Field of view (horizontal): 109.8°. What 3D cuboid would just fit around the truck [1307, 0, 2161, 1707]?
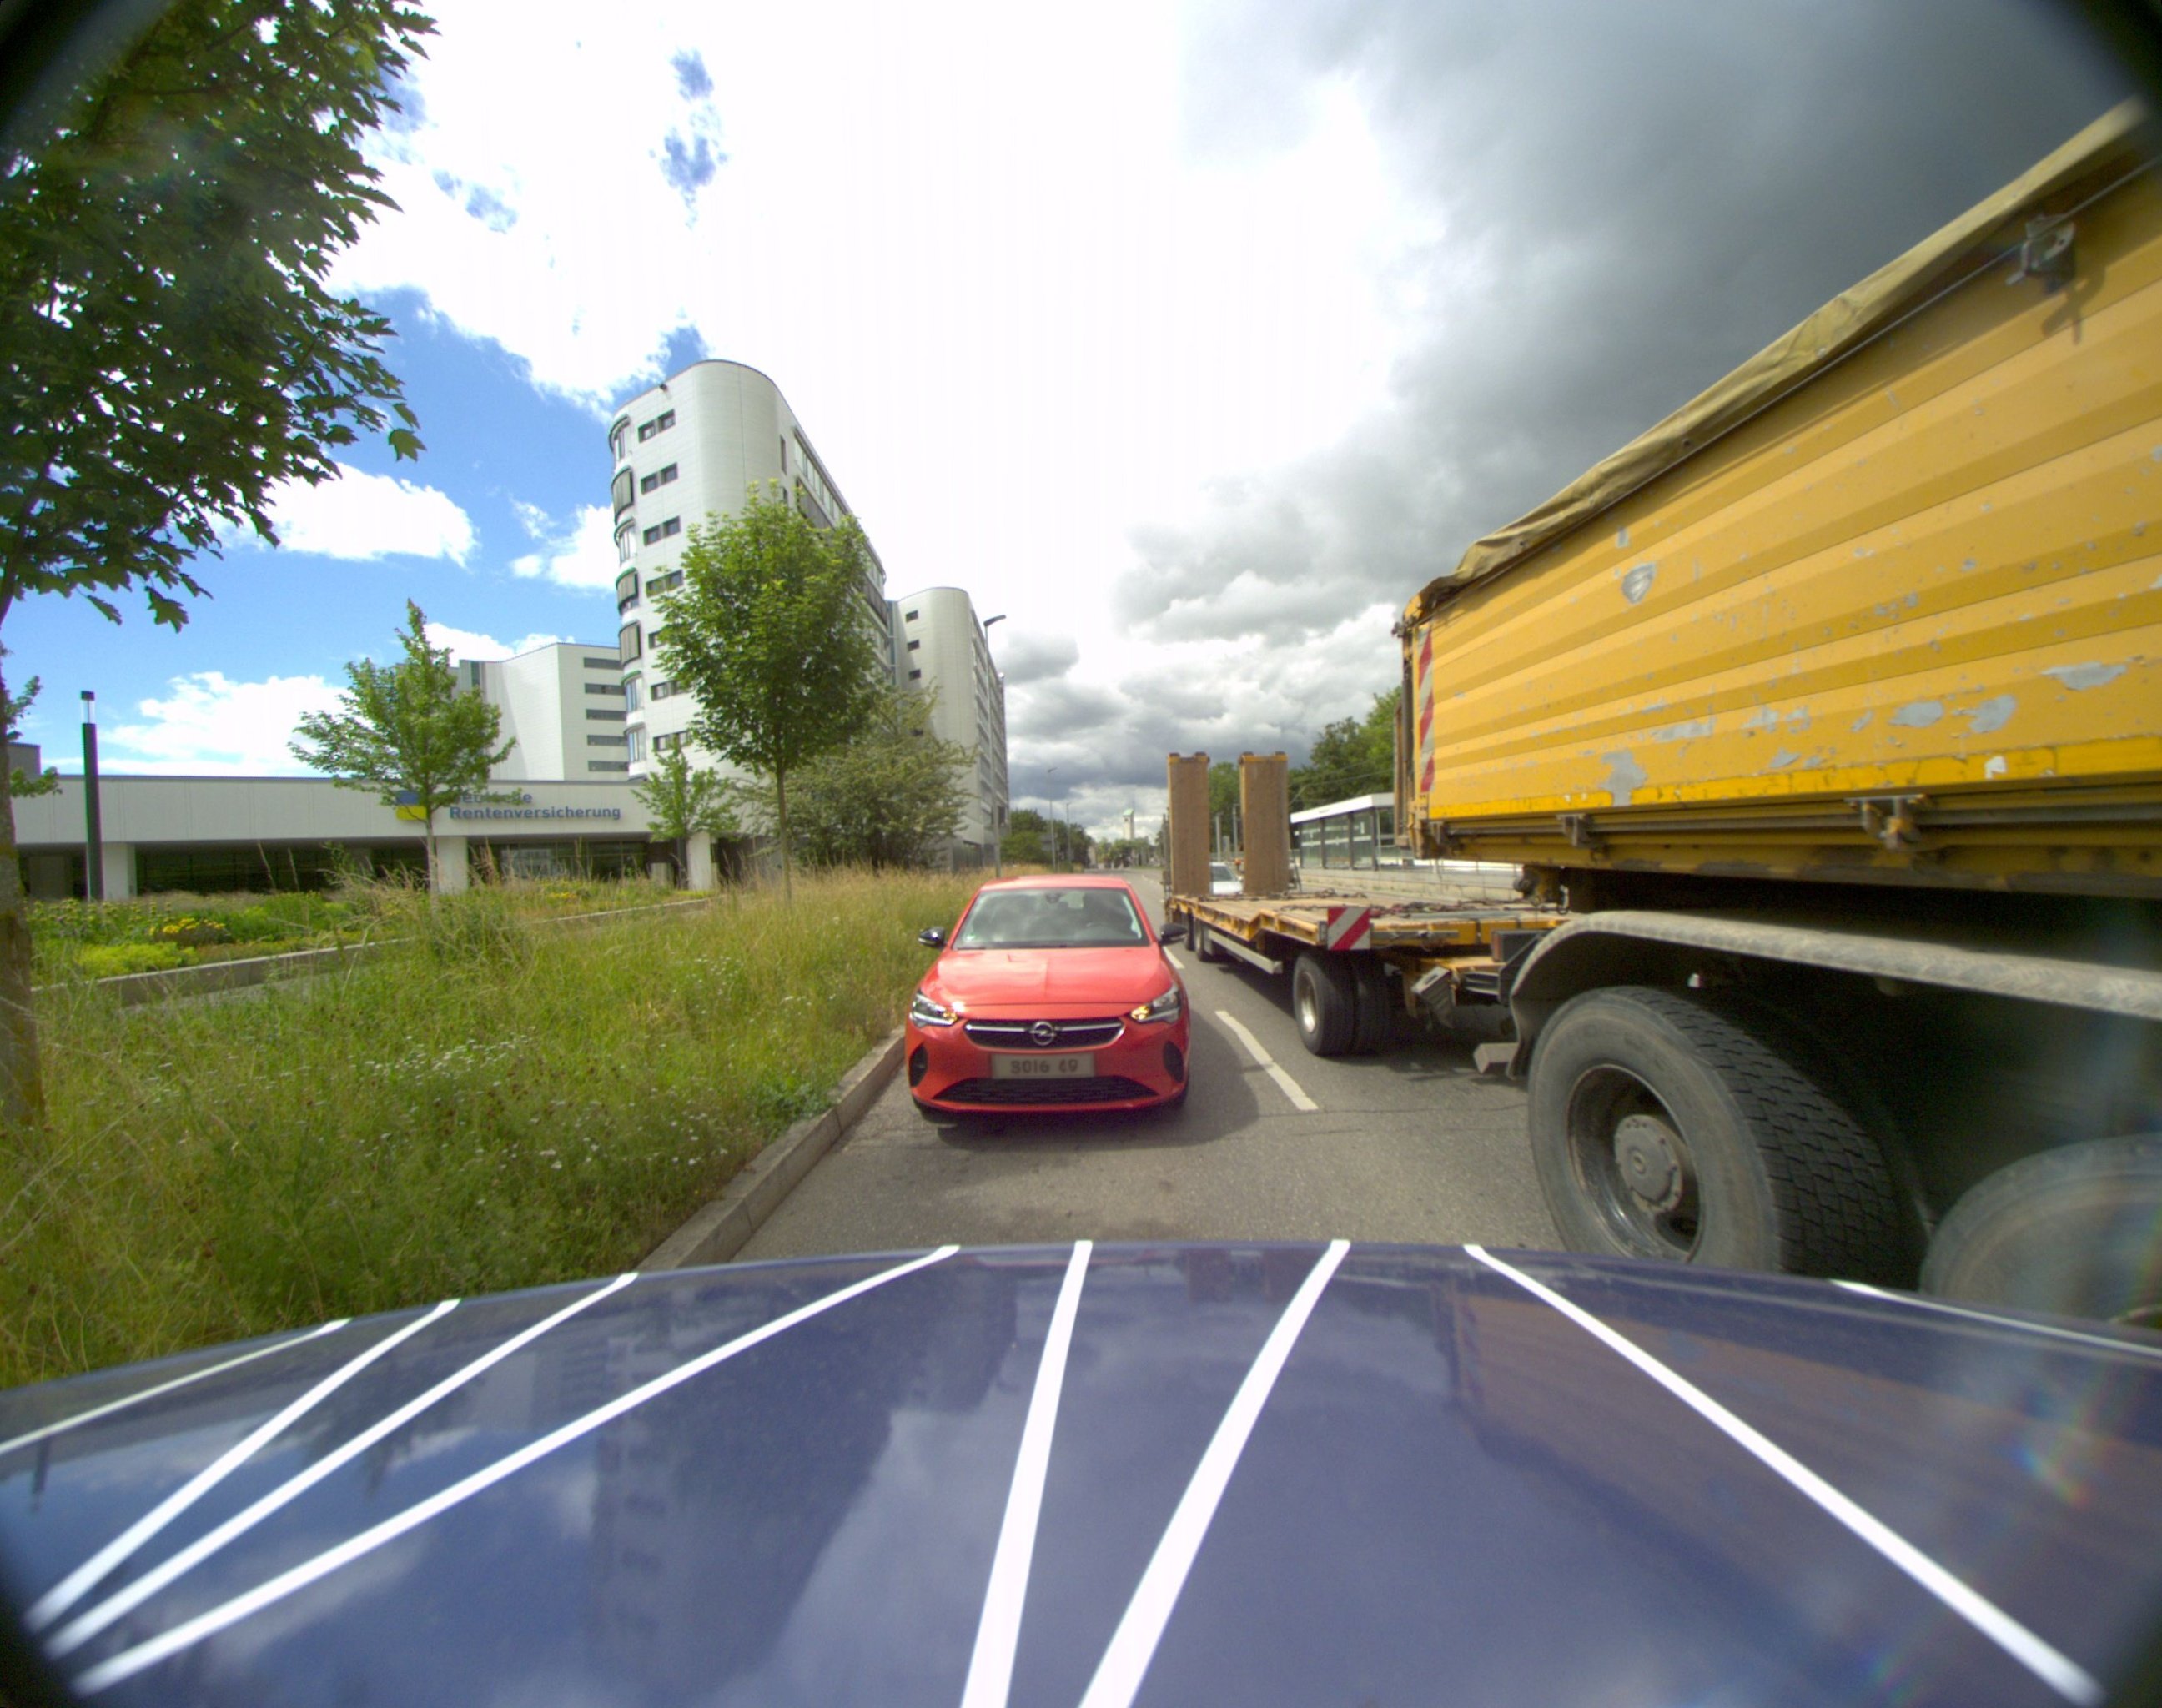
[{"bbox_3d":[2.834,-0.056,0.124,3.057,3.374,8.006,-2,0,0],"label":"truck"}]

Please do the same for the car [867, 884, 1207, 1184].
[{"bbox_3d":[-0.198,1.012,5.788,1.749,1.408,3.676,-1,0,1],"label":"car"}]

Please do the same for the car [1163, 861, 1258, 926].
[{"bbox_3d":[3.189,0.938,19.396,1.784,1.408,3.785,-2,0,1],"label":"car"}]

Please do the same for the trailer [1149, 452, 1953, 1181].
[{"bbox_3d":[2.941,-0.170,9.425,3.057,3.676,10.965,-2,0,0],"label":"trailer"}]
